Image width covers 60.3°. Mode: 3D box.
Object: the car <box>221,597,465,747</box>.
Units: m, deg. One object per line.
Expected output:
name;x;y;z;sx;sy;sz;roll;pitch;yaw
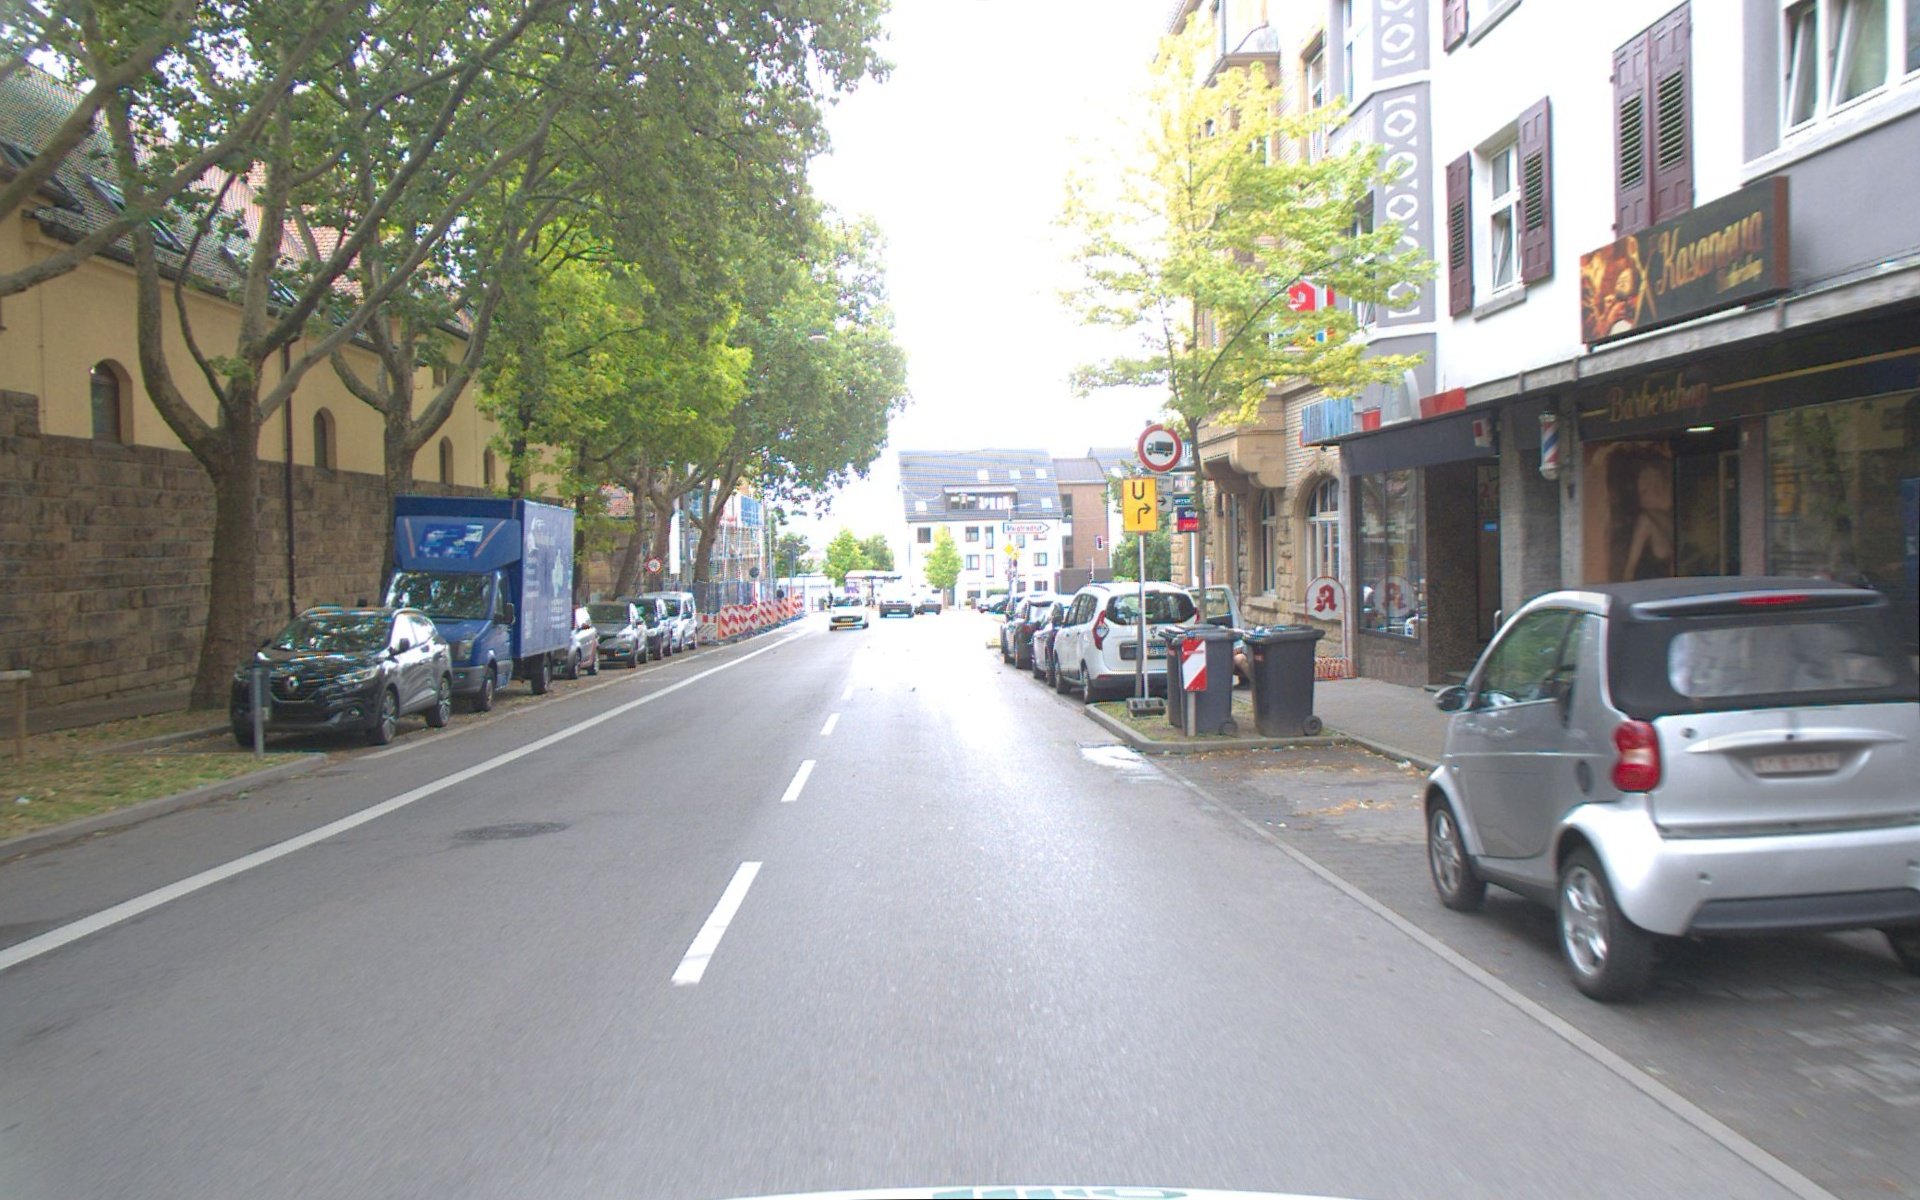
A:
car;-7.762;0.856;21.230;1.696;1.719;4.250;0;-1;-3

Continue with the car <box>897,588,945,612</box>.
car;-2.607;-0.010;111.331;1.623;1.489;3.999;-1;1;24

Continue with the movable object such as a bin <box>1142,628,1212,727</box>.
movable object such as a bin;2.367;0.839;18.119;0.610;1.042;0.696;-1;0;-4

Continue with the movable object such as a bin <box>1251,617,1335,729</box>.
movable object such as a bin;3.350;0.725;16.665;0.681;1.092;0.623;0;0;-6

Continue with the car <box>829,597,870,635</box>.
car;-4.720;0.687;70.902;1.551;1.489;3.650;-4;0;-2

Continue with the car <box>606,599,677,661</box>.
car;-8.944;0.833;46.693;1.478;1.660;4.111;0;-1;-4

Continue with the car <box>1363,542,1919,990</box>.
car;3.112;0.580;7.752;1.452;1.561;3.521;-3;0;-1

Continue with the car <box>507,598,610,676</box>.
car;-8.697;0.789;36.022;1.450;1.601;2.992;0;-1;1

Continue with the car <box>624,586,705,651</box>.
car;-9.284;0.557;52.290;1.797;1.909;4.415;-2;0;-1

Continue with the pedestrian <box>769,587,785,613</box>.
pedestrian;-12.158;0.011;109.905;0.904;1.750;0.798;0;-1;1

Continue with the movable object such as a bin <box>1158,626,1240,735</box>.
movable object such as a bin;2.408;0.798;16.705;0.610;1.042;0.695;-2;0;-10

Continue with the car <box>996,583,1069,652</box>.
car;1.816;0.434;42.232;1.533;1.638;3.653;-2;0;-2

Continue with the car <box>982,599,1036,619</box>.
car;3.588;0.665;121.369;3.610;1.451;1.705;-1;0;21

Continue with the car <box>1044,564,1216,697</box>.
car;2.410;0.418;24.559;1.646;1.692;4.539;-3;0;-5

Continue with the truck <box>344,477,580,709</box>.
truck;-8.298;-0.094;28.444;2.171;3.476;7.243;0;0;-3

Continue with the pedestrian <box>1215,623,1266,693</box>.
pedestrian;3.933;0.811;23.218;0.612;0.957;0.693;0;0;2

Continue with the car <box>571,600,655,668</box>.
car;-8.657;0.838;41.533;1.563;1.601;4.082;0;-1;-5

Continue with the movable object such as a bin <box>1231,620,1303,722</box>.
movable object such as a bin;3.244;0.743;17.498;0.566;1.042;0.623;-1;0;-7

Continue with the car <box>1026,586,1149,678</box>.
car;2.189;0.525;29.429;1.574;1.421;4.273;-3;0;-3

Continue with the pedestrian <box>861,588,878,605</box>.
pedestrian;-6.560;-0.243;120.157;0.914;1.213;0.904;0;-1;27

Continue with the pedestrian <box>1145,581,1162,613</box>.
pedestrian;10.147;-0.166;86.570;0.574;1.612;0.569;-4;1;-30

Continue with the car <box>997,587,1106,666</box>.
car;1.906;0.538;35.778;1.704;1.488;4.771;-3;0;-4

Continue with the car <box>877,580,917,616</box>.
car;-3.576;-0.114;94.989;2.160;1.965;5.239;0;0;-1
